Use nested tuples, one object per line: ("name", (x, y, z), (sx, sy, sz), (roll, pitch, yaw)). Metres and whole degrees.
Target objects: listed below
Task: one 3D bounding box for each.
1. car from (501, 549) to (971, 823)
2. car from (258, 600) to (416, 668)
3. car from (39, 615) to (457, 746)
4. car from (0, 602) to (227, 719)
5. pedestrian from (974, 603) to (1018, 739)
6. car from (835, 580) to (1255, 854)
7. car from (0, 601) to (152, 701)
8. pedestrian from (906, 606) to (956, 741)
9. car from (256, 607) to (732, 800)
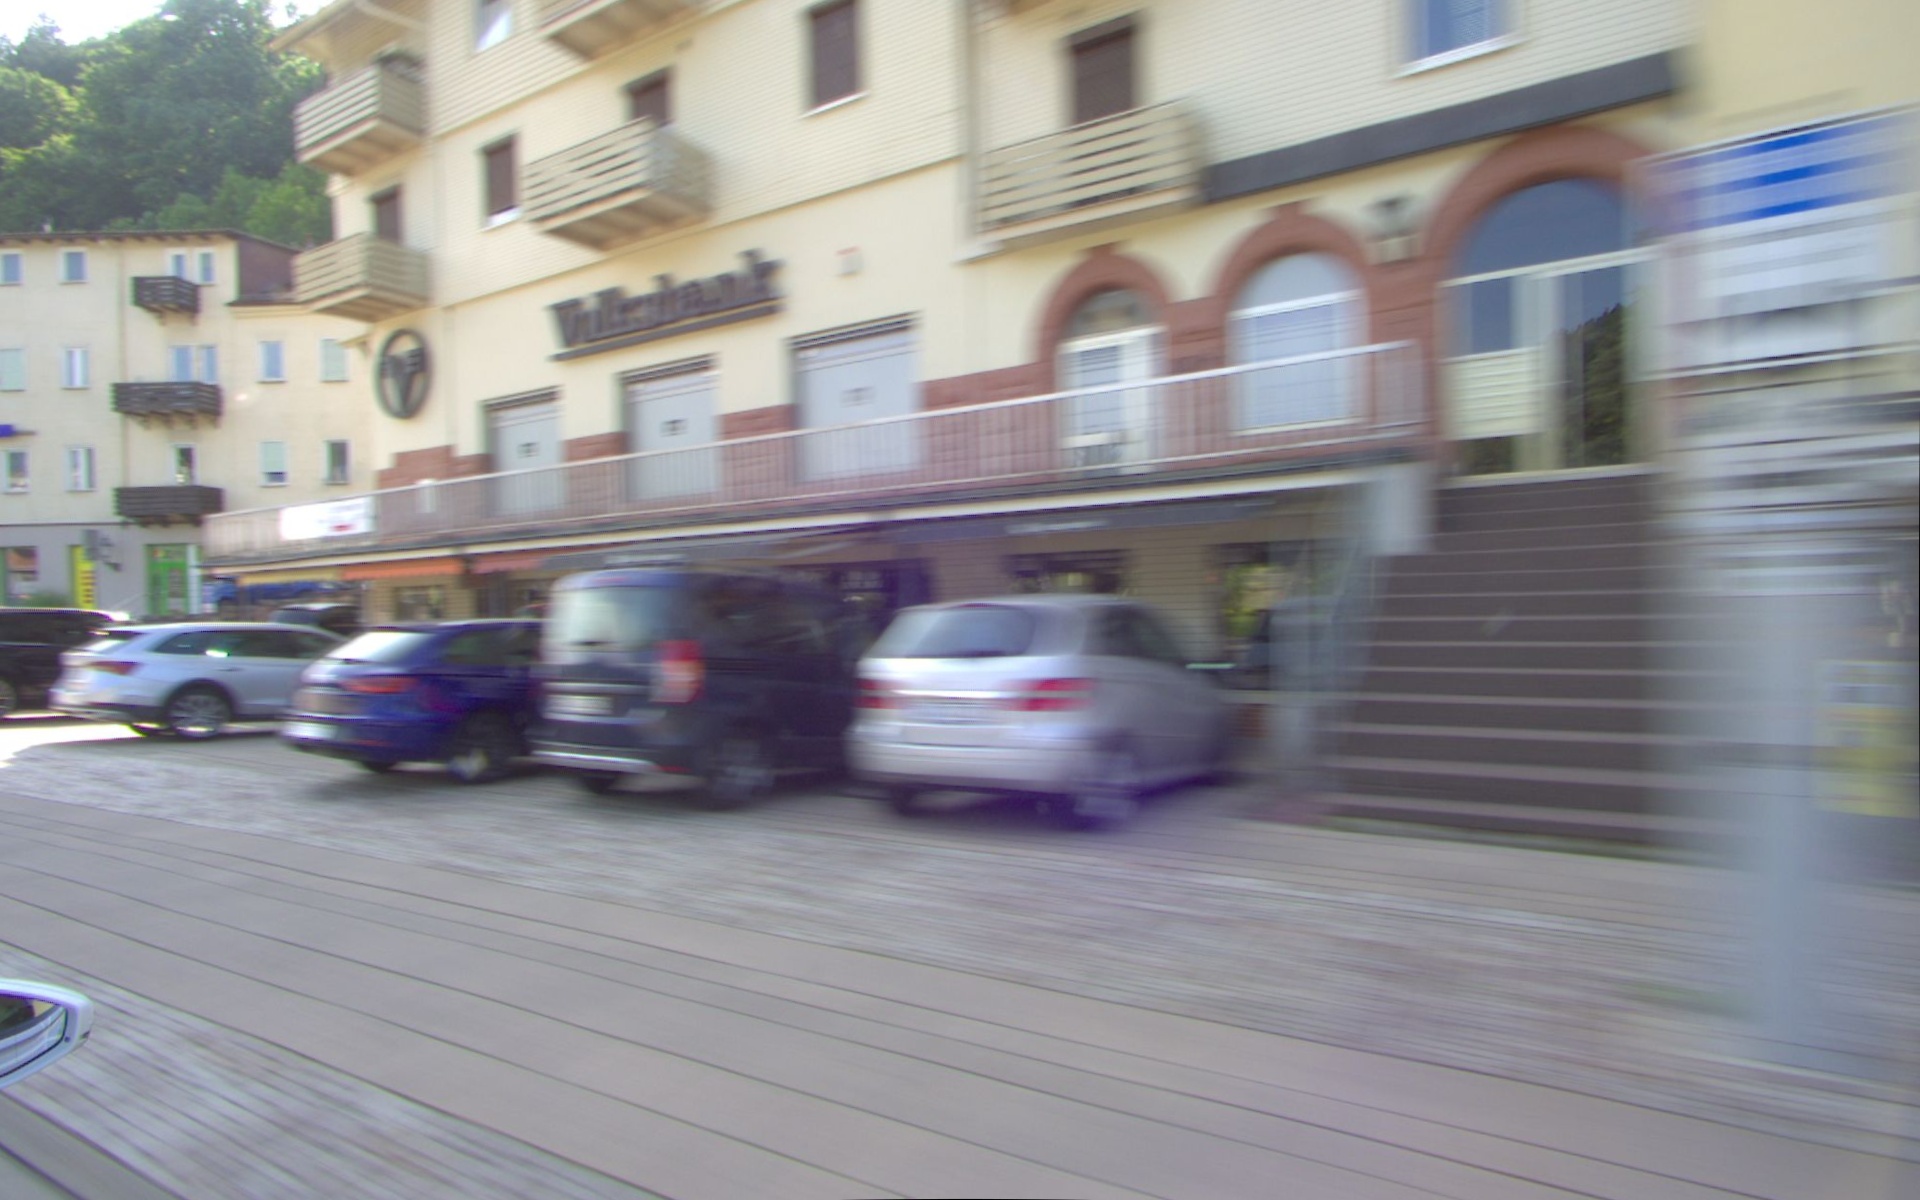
("car", (-1.702, 0.697, 8.842), (1.831, 1.826, 3.904), (-1, -4, 32))
("car", (-16.281, 0.829, 26.410), (1.738, 1.631, 3.921), (1, 0, -1))
("car", (-9.458, 1.005, 13.681), (1.749, 1.479, 4.346), (-2, -3, 34))
("car", (-14.126, 0.921, 15.532), (1.747, 1.686, 4.078), (-1, -3, 33))
("pedestrian", (0.461, 0.885, 12.647), (0.427, 1.681, 0.456), (-1, 2, 15))
("car", (0.933, 0.779, 8.031), (1.749, 1.609, 3.904), (0, -2, 32))
("car", (-17.172, 0.888, 17.866), (1.747, 1.722, 3.904), (1, -2, 33))
("pedestrian", (-0.368, 0.925, 12.838), (0.429, 1.681, 0.409), (0, 2, 40))
("car", (-4.281, 0.907, 9.809), (1.711, 1.479, 3.904), (-1, -3, 33))
